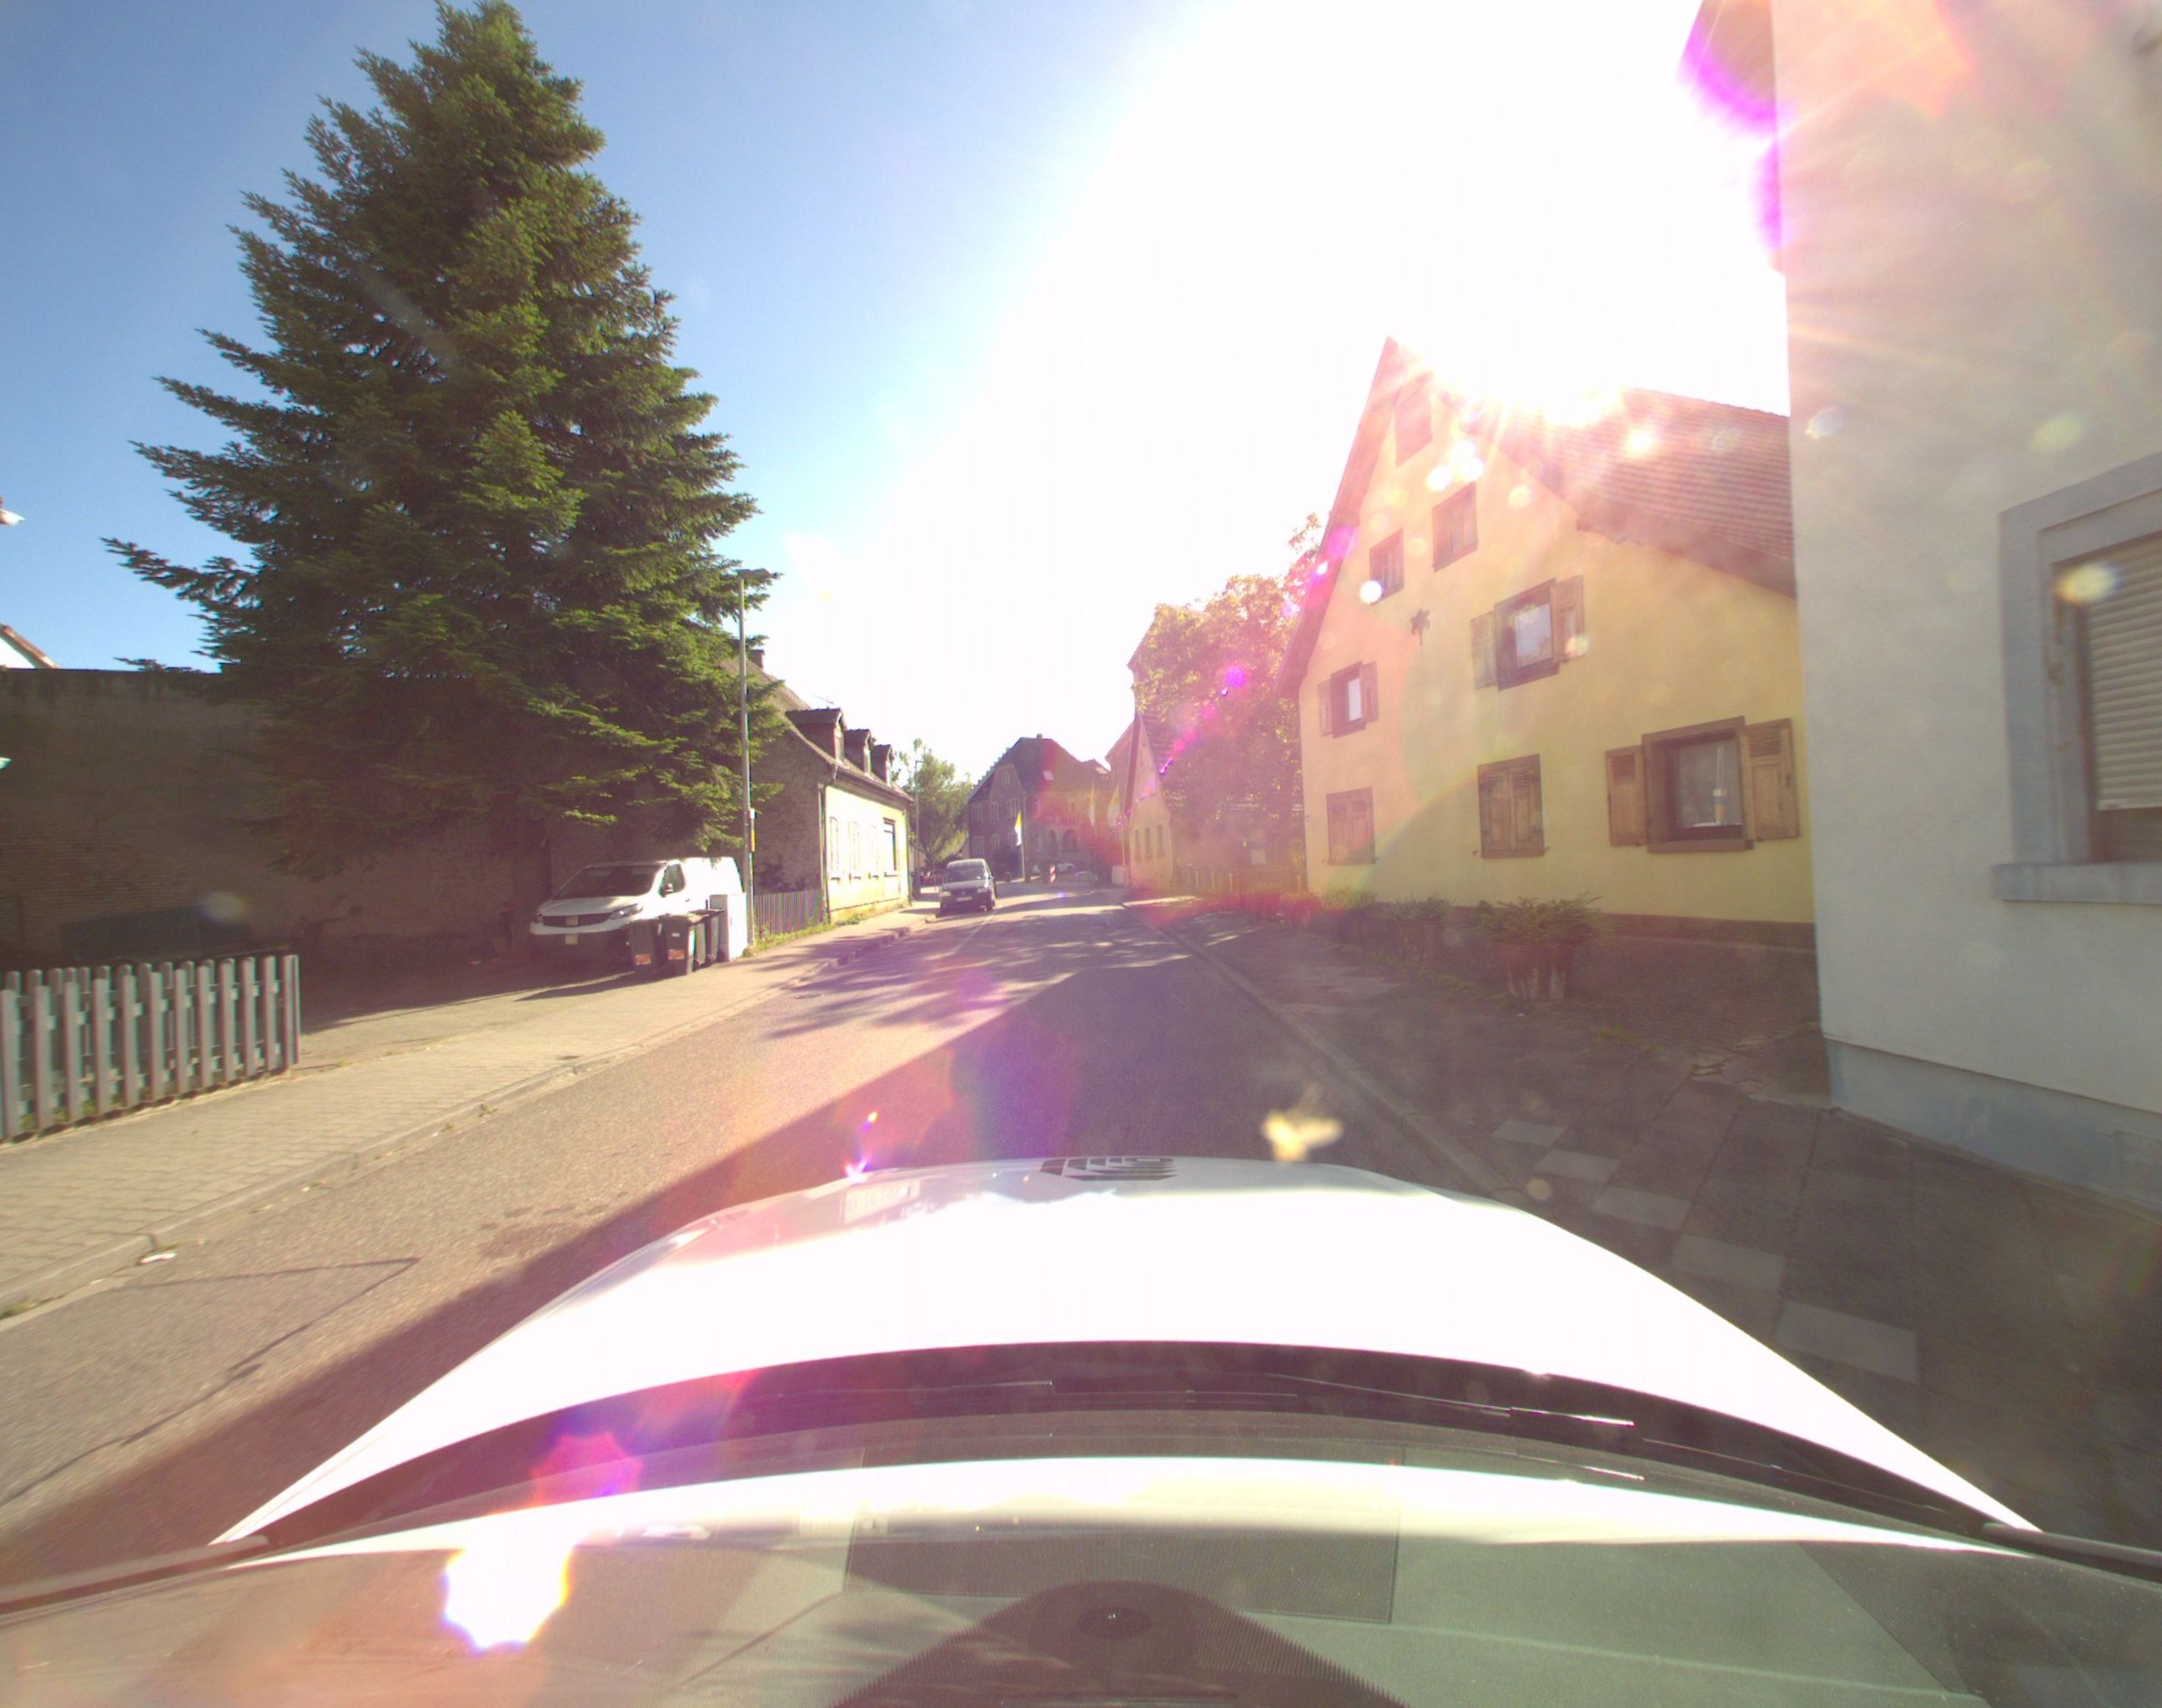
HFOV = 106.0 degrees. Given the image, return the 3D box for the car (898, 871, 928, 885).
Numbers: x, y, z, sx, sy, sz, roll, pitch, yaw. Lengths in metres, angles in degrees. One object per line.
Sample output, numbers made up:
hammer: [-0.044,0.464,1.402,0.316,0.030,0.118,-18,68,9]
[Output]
car: [-17.861,2.552,86.654,1.724,1.401,4.204,-2,-1,-32]

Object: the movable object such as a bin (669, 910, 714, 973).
movable object such as a bin: [-6.208,1.387,13.009,0.427,0.924,0.491,-3,1,-1]

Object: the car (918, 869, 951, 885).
car: [-14.316,2.234,79.411,1.724,1.401,4.204,-2,-1,-32]

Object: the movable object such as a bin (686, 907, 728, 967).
movable object such as a bin: [-6.204,1.369,13.533,0.418,0.924,0.491,-3,1,-1]

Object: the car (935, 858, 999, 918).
car: [-3.975,1.150,29.016,1.822,1.814,4.195,-4,-1,-4]

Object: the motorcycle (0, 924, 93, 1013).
motorcycle: [-18.506,2.011,13.902,0.592,1.353,2.143,-3,1,-1]

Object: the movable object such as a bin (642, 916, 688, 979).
movable object such as a bin: [-6.637,1.481,13.008,0.418,0.924,0.491,-3,1,-1]

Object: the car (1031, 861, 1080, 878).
car: [-2.397,1.460,76.563,4.264,1.401,1.700,-2,-1,-34]

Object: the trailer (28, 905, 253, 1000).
trailer: [-18.449,1.882,16.092,2.435,1.572,1.539,-2,-1,-12]

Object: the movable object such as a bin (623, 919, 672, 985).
movable object such as a bin: [-6.641,1.498,12.488,0.418,0.924,0.491,-3,1,-1]

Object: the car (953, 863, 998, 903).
car: [-5.316,1.412,40.657,1.827,1.732,4.184,-4,-1,-12]

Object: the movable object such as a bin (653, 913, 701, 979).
movable object such as a bin: [-6.201,1.401,12.514,0.438,0.924,0.491,-3,1,-1]

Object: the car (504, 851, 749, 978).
car: [-8.419,1.008,15.800,1.935,1.955,5.137,-3,-1,-2]
